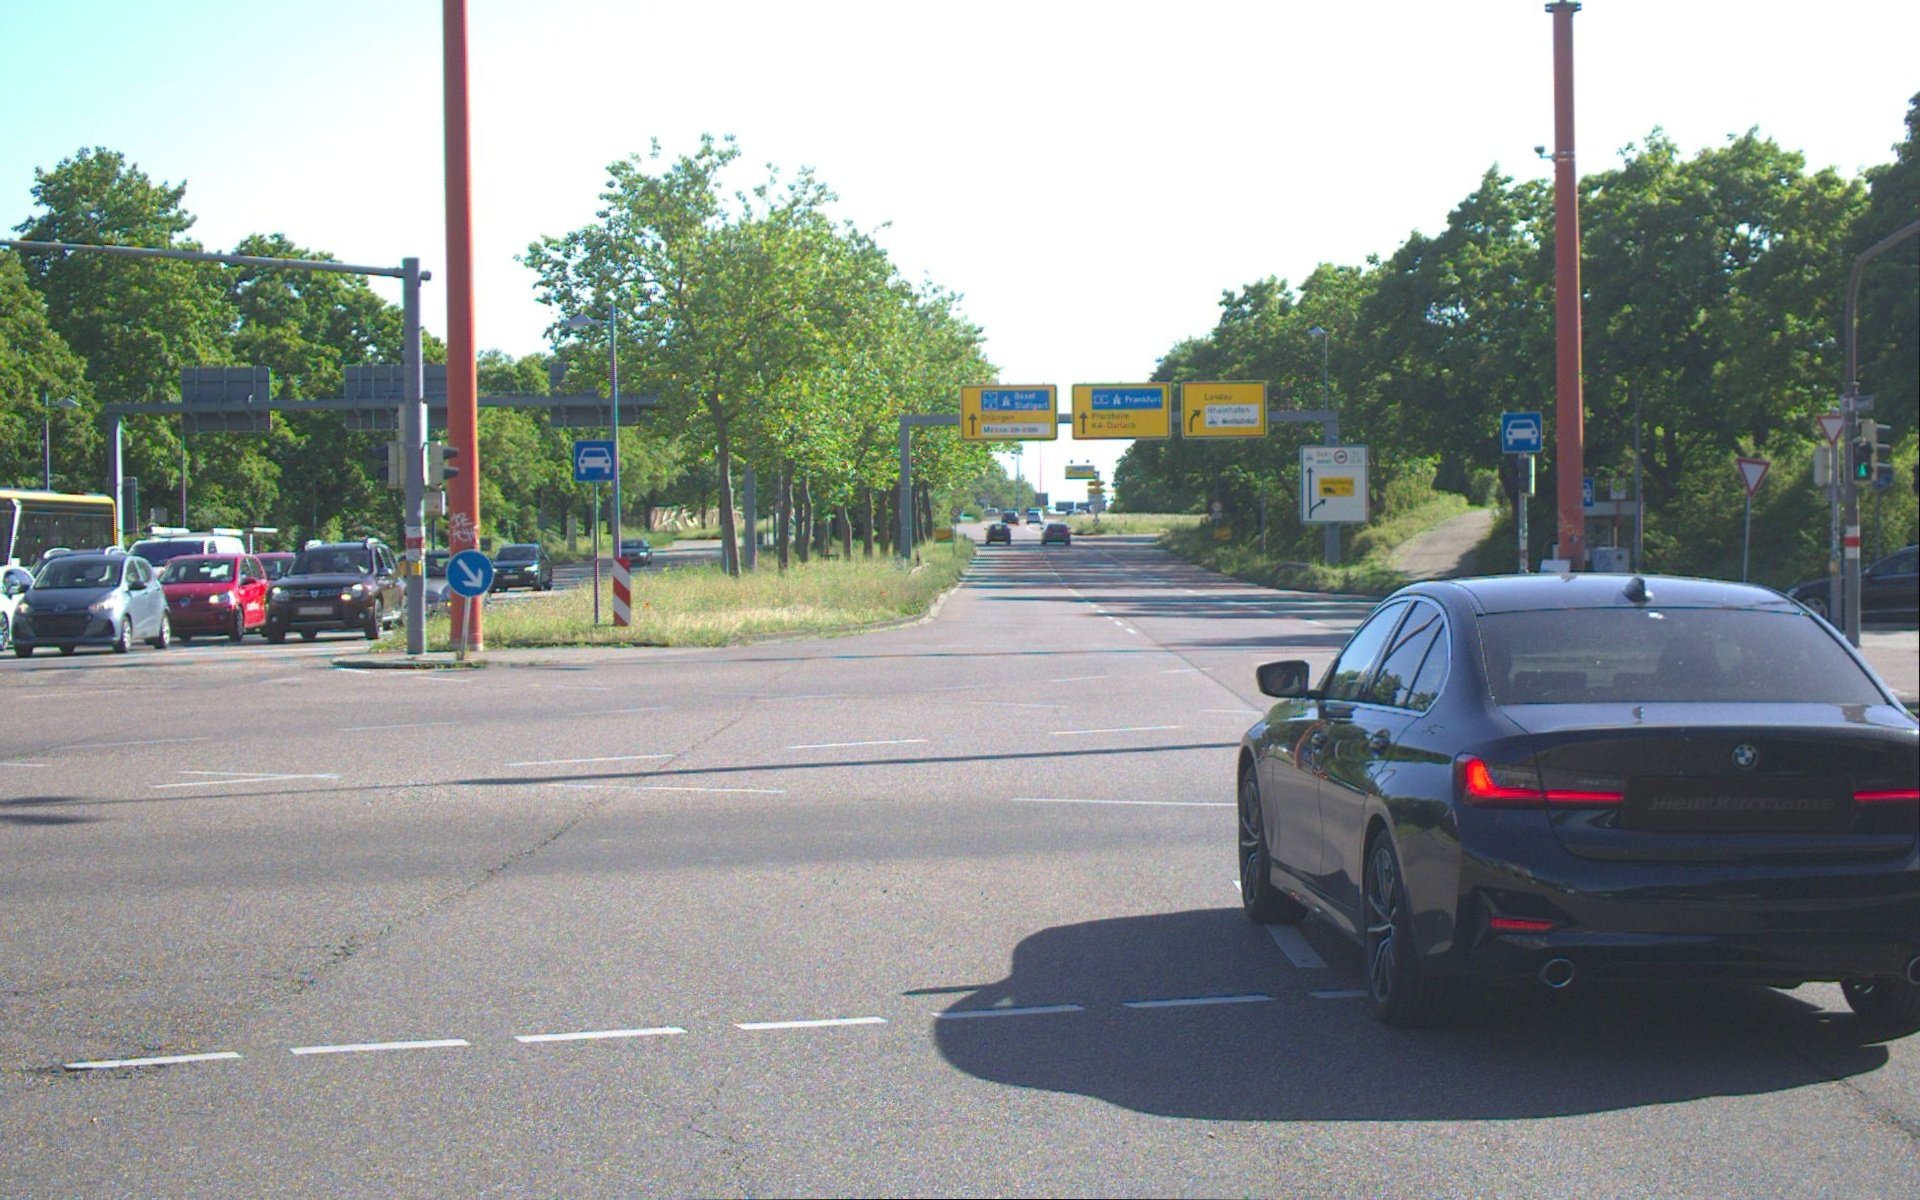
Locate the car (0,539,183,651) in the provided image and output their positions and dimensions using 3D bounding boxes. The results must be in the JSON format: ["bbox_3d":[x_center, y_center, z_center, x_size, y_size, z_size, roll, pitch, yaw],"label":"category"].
[{"bbox_3d":[-13.217,-0.104,52.294,1.874,1.545,4.028,-2,1,-1],"label":"car"}]

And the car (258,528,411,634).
[{"bbox_3d":[-10.212,-0.333,56.370,1.793,1.620,4.144,-2,1,-1],"label":"car"}]

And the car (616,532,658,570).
[{"bbox_3d":[-17.666,-2.687,188.097,1.920,1.992,4.604,-1,1,-1],"label":"car"}]

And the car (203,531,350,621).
[{"bbox_3d":[-12.804,-0.459,64.629,1.901,1.624,4.000,0,1,1],"label":"car"}]

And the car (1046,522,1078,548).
[{"bbox_3d":[6.975,-4.438,234.456,1.993,1.727,4.000,1,1,-1],"label":"car"}]

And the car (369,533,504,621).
[{"bbox_3d":[-9.687,-0.450,63.848,1.885,1.538,4.000,-2,1,-1],"label":"car"}]

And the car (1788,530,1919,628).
[{"bbox_3d":[16.444,-0.348,58.355,4.291,1.630,1.767,1,1,30],"label":"car"}]

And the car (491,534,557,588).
[{"bbox_3d":[-15.266,-1.382,120.465,1.837,1.831,3.961,-1,1,-1],"label":"car"}]

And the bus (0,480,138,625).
[{"bbox_3d":[-22.810,-1.135,83.276,2.646,3.250,12.536,1,1,1],"label":"bus"}]

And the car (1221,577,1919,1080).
[{"bbox_3d":[2.132,0.656,12.157,1.763,1.436,4.295,1,1,-4],"label":"car"}]

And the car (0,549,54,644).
[{"bbox_3d":[-16.531,-0.056,57.286,1.901,1.549,4.000,-2,1,-2],"label":"car"}]

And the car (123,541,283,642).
[{"bbox_3d":[-12.865,-0.164,58.632,1.875,1.547,4.000,-3,1,-2],"label":"car"}]

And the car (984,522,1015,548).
[{"bbox_3d":[2.686,-4.456,235.457,1.993,1.727,4.000,1,1,-1],"label":"car"}]

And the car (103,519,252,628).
[{"bbox_3d":[-16.065,-0.573,70.833,1.961,2.147,5.082,-1,1,-1],"label":"car"}]
